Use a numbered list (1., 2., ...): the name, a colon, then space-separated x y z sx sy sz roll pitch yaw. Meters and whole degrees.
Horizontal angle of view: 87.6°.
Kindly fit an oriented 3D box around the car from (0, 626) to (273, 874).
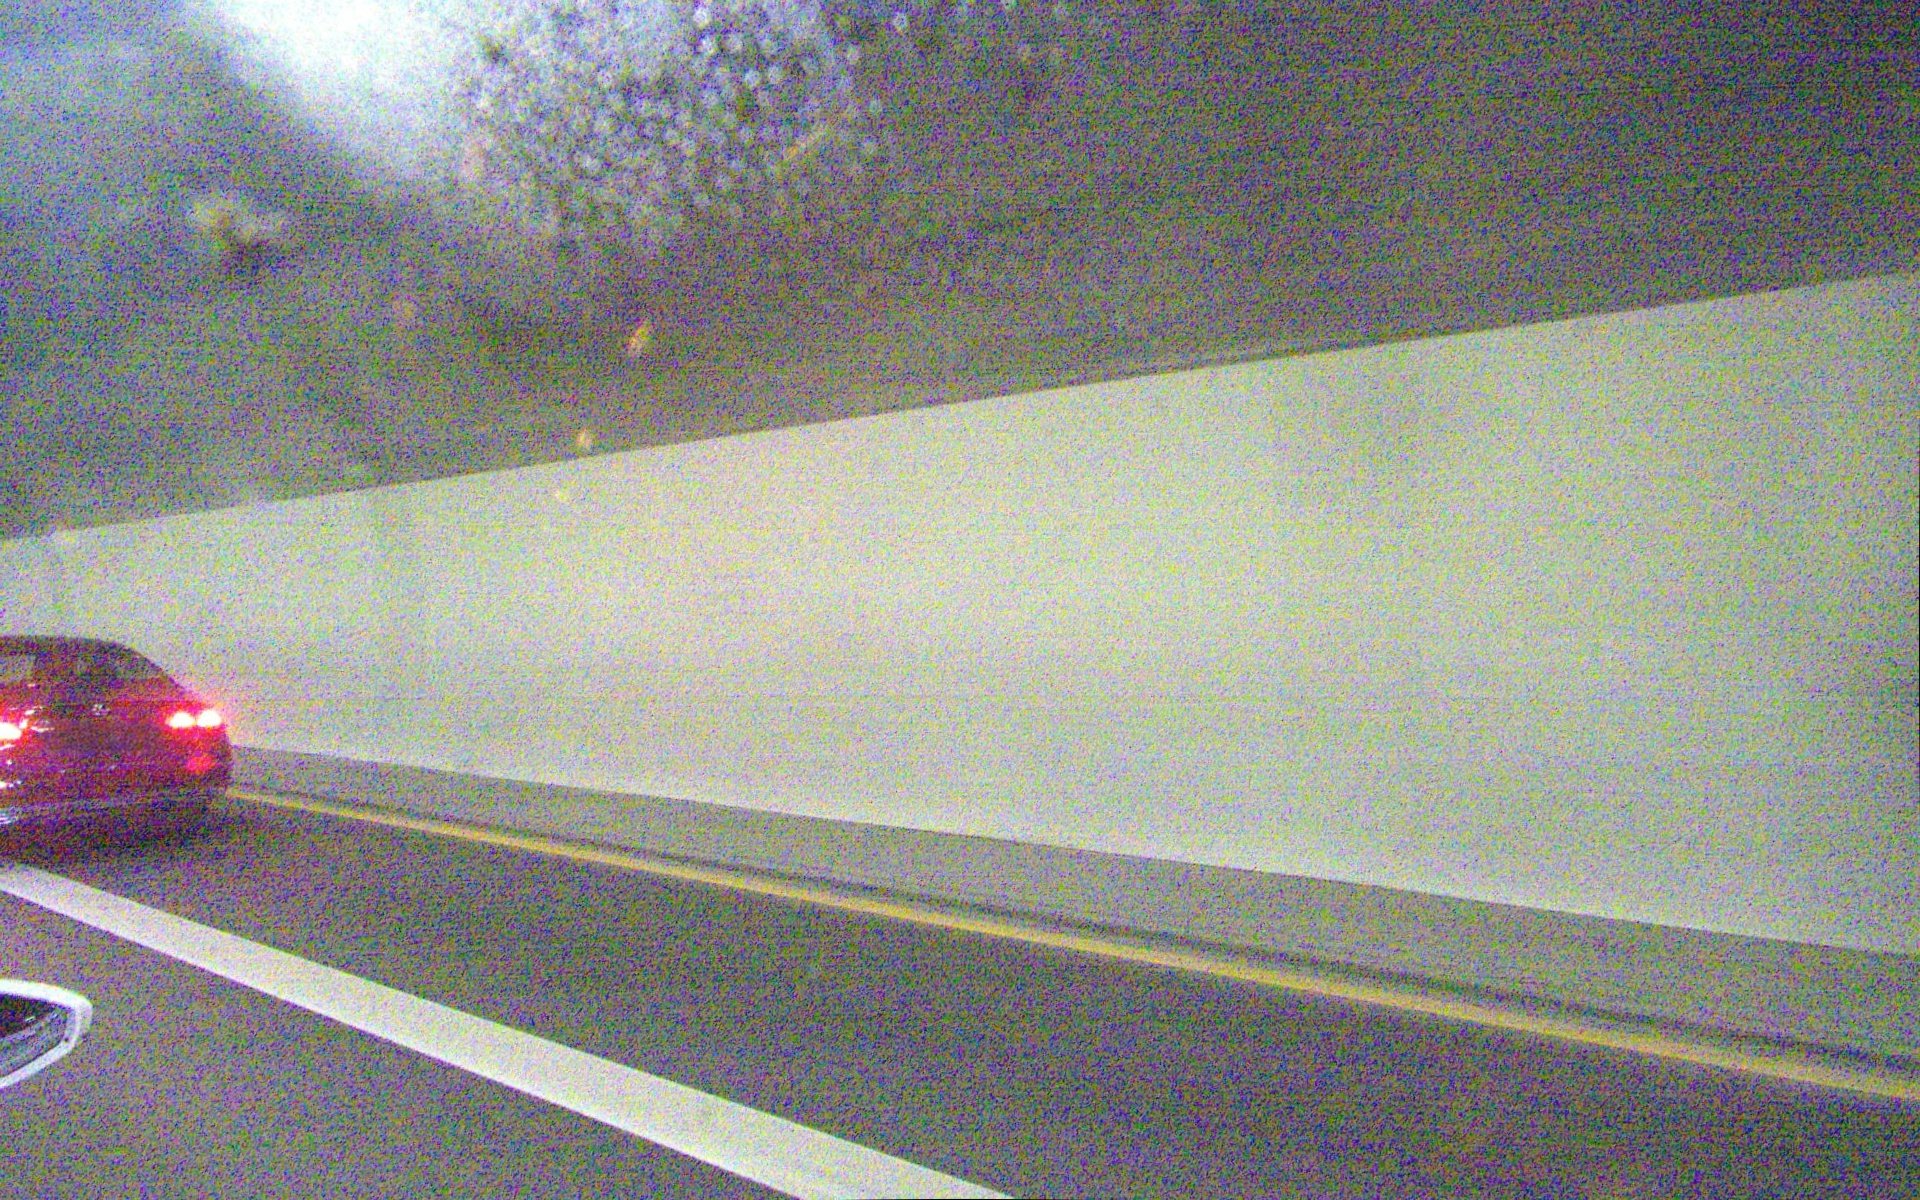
1. car: -7.573 0.981 7.765 4.884 1.490 1.923 -1 -3 32
